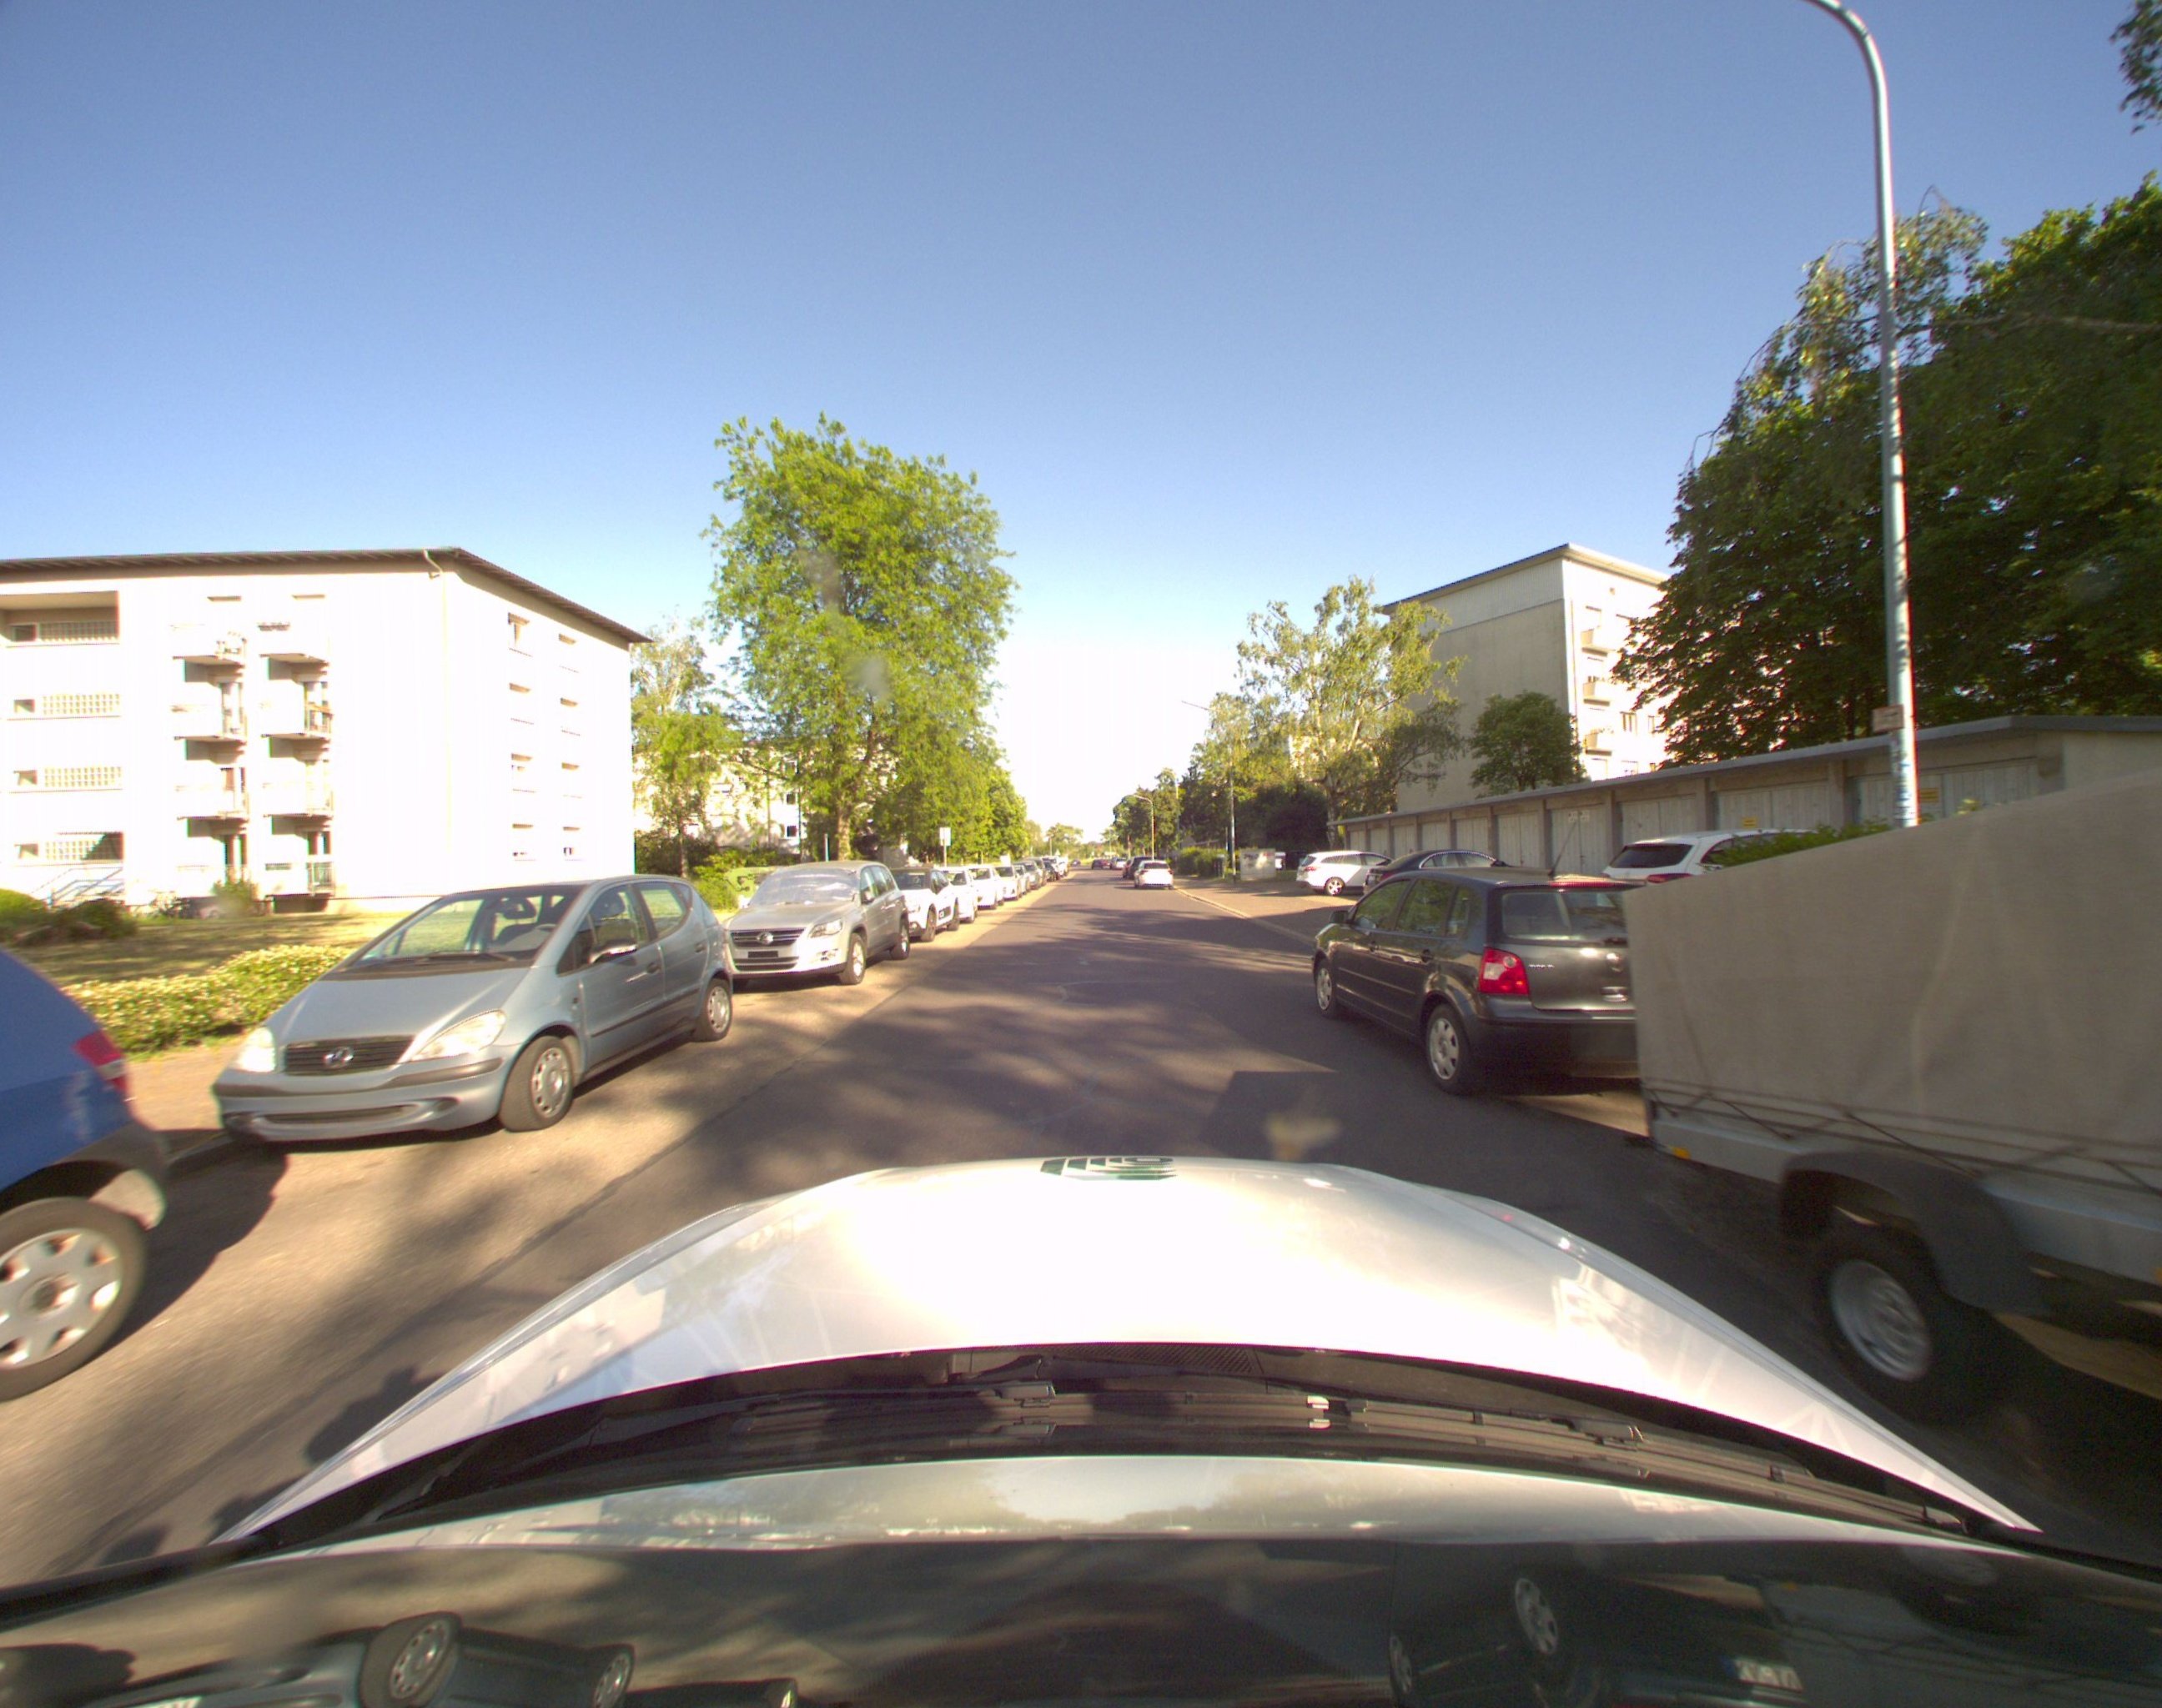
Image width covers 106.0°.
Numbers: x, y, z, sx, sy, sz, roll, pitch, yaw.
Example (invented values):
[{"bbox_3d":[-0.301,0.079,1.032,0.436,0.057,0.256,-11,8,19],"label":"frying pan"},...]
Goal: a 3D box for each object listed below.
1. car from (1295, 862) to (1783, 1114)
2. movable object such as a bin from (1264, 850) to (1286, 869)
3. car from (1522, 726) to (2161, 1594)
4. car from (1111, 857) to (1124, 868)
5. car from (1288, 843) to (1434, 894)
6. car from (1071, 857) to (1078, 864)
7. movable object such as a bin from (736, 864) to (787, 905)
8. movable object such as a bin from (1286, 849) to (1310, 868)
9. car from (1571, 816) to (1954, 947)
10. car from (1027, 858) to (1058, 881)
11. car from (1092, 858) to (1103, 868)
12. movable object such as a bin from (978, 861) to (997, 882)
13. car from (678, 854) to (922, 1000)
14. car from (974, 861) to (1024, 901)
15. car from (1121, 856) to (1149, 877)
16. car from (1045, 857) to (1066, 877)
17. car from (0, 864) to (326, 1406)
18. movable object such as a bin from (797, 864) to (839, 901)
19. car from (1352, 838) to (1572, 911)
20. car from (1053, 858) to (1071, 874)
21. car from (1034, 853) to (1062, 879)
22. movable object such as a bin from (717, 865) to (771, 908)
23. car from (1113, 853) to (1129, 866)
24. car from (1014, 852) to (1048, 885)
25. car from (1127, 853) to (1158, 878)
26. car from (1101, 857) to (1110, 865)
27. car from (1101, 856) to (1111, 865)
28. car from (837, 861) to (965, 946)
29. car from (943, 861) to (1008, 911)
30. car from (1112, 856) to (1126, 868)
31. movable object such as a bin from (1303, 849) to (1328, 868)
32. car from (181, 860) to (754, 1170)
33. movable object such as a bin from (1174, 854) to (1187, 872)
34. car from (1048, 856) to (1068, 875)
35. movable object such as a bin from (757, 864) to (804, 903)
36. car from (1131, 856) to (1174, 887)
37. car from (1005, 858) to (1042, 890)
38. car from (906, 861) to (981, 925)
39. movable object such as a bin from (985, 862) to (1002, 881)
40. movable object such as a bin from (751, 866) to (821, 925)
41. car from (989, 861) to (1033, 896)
[{"bbox_3d":[3.153,0.784,6.632,1.727,1.403,3.892,0,0,-2],"label":"car"},{"bbox_3d":[13.770,0.398,57.923,1.250,1.353,1.279,-1,0,0],"label":"movable object such as a bin"},{"bbox_3d":[2.891,0.609,2.693,1.484,1.718,2.583,0,0,0],"label":"car"},{"bbox_3d":[5.533,1.239,123.989,1.791,1.643,3.949,-1,0,-1],"label":"car"},{"bbox_3d":[9.617,0.488,28.207,4.399,1.513,1.829,-3,0,1],"label":"car"},{"bbox_3d":[-1.635,1.630,203.959,1.791,1.561,3.949,-1,0,-1],"label":"car"},{"bbox_3d":[-11.660,1.085,29.772,1.173,1.421,1.463,1,0,3],"label":"movable object such as a bin"},{"bbox_3d":[15.474,0.322,58.147,1.254,1.353,1.275,-1,0,-8],"label":"movable object such as a bin"},{"bbox_3d":[9.458,0.359,11.533,3.933,1.513,1.827,-3,0,-2],"label":"car"},{"bbox_3d":[-2.825,1.132,60.416,1.739,1.533,4.142,-3,0,3],"label":"car"},{"bbox_3d":[2.542,1.324,126.163,1.675,1.513,4.101,0,0,-1],"label":"car"},{"bbox_3d":[-6.529,1.229,56.765,1.097,1.421,1.361,1,0,1],"label":"movable object such as a bin"},{"bbox_3d":[-3.757,0.875,11.834,1.896,1.640,4.349,-3,0,1],"label":"car"},{"bbox_3d":[-3.410,1.108,34.401,1.681,1.505,3.816,-2,0,-1],"label":"car"},{"bbox_3d":[4.162,0.938,63.296,1.901,1.531,4.328,-1,0,1],"label":"car"},{"bbox_3d":[-2.355,1.197,74.784,1.742,1.669,4.375,-3,0,-2],"label":"car"},{"bbox_3d":[-4.174,0.899,1.472,1.748,1.606,3.970,-4,0,2],"label":"car"},{"bbox_3d":[-10.273,1.100,31.849,1.130,1.421,1.361,1,0,2],"label":"movable object such as a bin"},{"bbox_3d":[9.223,0.487,20.001,4.496,1.513,1.830,-3,0,2],"label":"car"},{"bbox_3d":[-2.081,1.270,90.102,1.740,1.613,4.308,-3,0,1],"label":"car"},{"bbox_3d":[-2.671,0.977,66.547,1.908,1.962,5.088,-3,0,1],"label":"car"},{"bbox_3d":[-11.691,1.102,28.291,1.173,1.421,1.463,1,0,3],"label":"movable object such as a bin"},{"bbox_3d":[5.070,0.713,103.536,1.791,1.561,3.949,-1,0,-1],"label":"car"},{"bbox_3d":[-3.115,0.864,51.434,1.849,1.892,4.416,-3,0,-1],"label":"car"},{"bbox_3d":[4.269,0.811,57.369,1.901,1.639,4.629,-1,0,1],"label":"car"},{"bbox_3d":[4.988,1.359,166.012,1.791,1.643,3.949,-1,0,-1],"label":"car"},{"bbox_3d":[4.855,1.260,158.834,1.791,1.549,3.949,-1,0,-1],"label":"car"},{"bbox_3d":[-3.703,0.952,17.440,1.656,1.513,3.947,-3,0,2],"label":"car"},{"bbox_3d":[-3.621,1.052,28.570,1.681,1.535,3.890,-3,0,0],"label":"car"},{"bbox_3d":[5.534,1.145,119.438,1.791,1.786,3.949,-1,0,-1],"label":"car"},{"bbox_3d":[16.906,0.307,58.689,1.255,1.353,1.274,-1,0,-10],"label":"movable object such as a bin"},{"bbox_3d":[-4.075,0.893,6.235,1.630,1.606,3.534,-3,0,0],"label":"car"},{"bbox_3d":[8.315,0.743,68.351,0.914,1.454,1.233,-2,-1,1],"label":"movable object such as a bin"},{"bbox_3d":[-2.257,1.125,80.403,1.740,1.732,4.006,-3,0,1],"label":"car"},{"bbox_3d":[-11.567,1.114,31.369,1.173,1.421,1.463,1,0,3],"label":"movable object such as a bin"},{"bbox_3d":[3.593,0.856,41.378,1.748,1.513,4.101,0,0,-1],"label":"car"},{"bbox_3d":[-3.132,1.065,45.306,1.704,1.600,3.984,-4,0,-1],"label":"car"},{"bbox_3d":[-3.635,0.985,22.083,1.660,1.513,3.531,-3,0,-5],"label":"car"},{"bbox_3d":[-6.392,1.301,59.579,1.097,1.356,1.361,1,0,1],"label":"movable object such as a bin"},{"bbox_3d":[-7.340,1.009,20.343,1.132,1.382,1.442,1,0,2],"label":"movable object such as a bin"},{"bbox_3d":[-3.373,1.160,39.952,1.681,1.465,4.525,-4,0,0],"label":"car"}]
